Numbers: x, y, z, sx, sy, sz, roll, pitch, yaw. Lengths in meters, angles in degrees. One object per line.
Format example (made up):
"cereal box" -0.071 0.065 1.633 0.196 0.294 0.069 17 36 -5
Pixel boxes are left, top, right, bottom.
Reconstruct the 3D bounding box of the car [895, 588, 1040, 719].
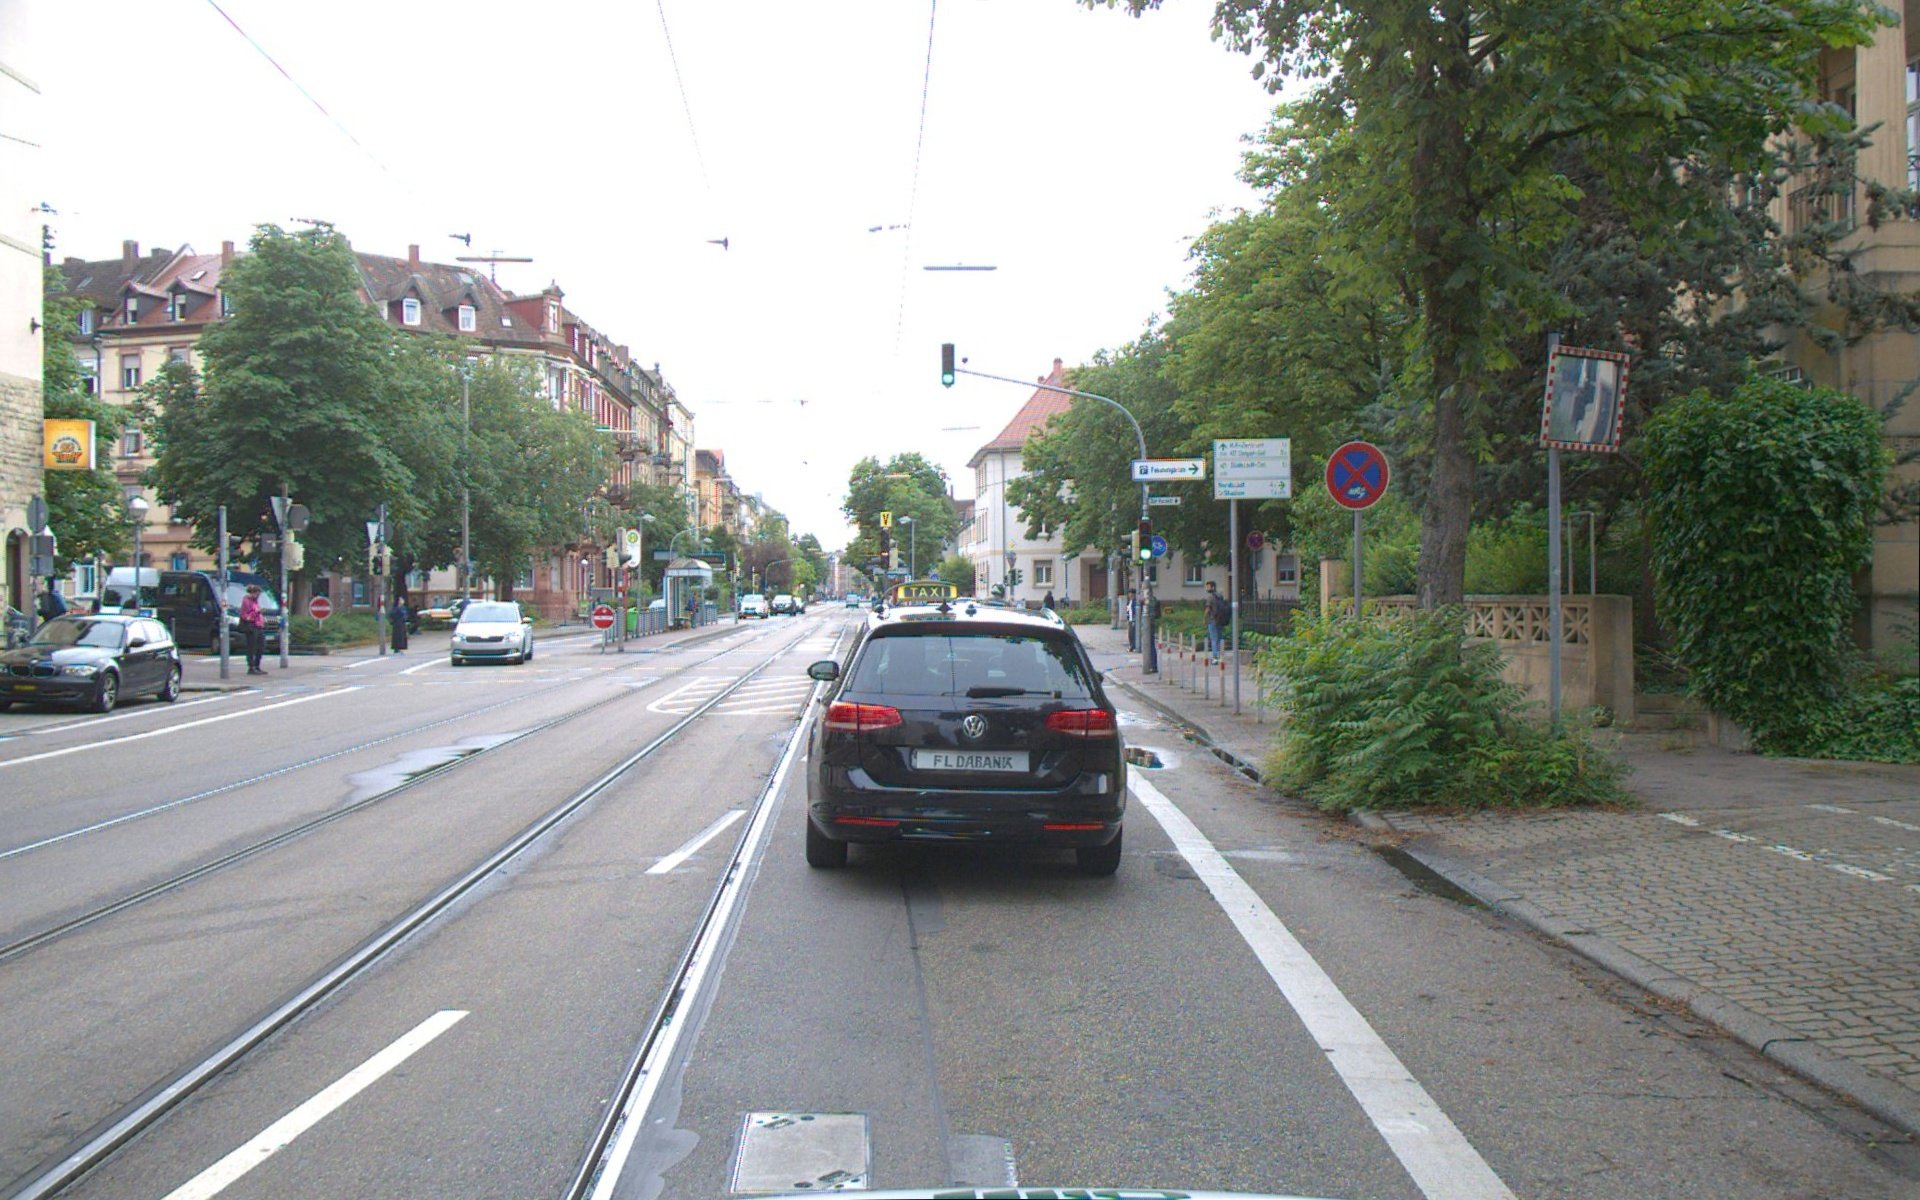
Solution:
"car" 0.018 0.639 21.901 1.689 1.573 3.997 0 0 -3

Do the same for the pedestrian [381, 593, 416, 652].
"pedestrian" -16.222 0.657 47.813 0.820 1.692 0.591 0 0 -2

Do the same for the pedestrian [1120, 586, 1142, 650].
"pedestrian" 5.081 0.541 49.153 0.504 1.862 0.418 -3 0 -2

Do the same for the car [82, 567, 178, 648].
"car" -27.973 0.244 55.669 2.161 2.571 5.314 0 0 -35

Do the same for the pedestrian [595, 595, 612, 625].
"pedestrian" -18.506 0.493 85.762 0.577 1.547 0.647 -1 0 32

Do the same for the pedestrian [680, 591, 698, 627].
"pedestrian" -11.748 0.383 71.756 0.700 1.547 0.589 0 0 -2

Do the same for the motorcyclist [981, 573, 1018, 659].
"motorcyclist" 0.810 0.322 33.787 0.688 1.722 0.805 -1 0 5

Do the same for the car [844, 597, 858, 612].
"car" -15.381 0.619 233.632 1.992 2.049 3.997 1 -1 -3

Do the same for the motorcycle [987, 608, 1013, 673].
"motorcycle" 0.821 0.810 33.795 0.437 1.257 1.908 -1 0 4

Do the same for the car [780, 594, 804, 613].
"car" -15.137 0.318 149.167 1.759 1.624 3.999 -1 0 -1

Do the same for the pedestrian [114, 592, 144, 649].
"pedestrian" -25.872 0.625 51.500 0.694 1.745 0.543 0 0 -43

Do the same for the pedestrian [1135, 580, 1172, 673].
"pedestrian" 3.965 0.531 33.979 0.573 1.862 0.604 -3 0 -2

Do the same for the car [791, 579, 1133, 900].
"car" -0.092 0.677 10.148 1.689 1.573 3.997 0 0 -3

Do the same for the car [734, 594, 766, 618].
"car" -14.534 0.383 114.759 1.759 1.624 3.999 0 0 -1

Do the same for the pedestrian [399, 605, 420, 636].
"pedestrian" -21.270 0.785 63.916 0.582 1.189 0.836 0 0 -32

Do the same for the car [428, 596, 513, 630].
"car" -24.966 0.656 84.480 3.832 1.651 1.699 -1 0 -43

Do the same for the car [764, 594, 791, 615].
"car" -14.543 0.364 131.954 1.759 1.624 3.999 -1 0 -1

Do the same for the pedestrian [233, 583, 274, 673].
"pedestrian" -14.844 0.583 34.765 0.611 1.875 0.609 0 0 -6

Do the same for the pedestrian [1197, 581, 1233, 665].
"pedestrian" 5.640 0.505 36.556 0.620 1.846 0.725 0 0 -6

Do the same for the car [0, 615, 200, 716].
"car" -13.645 0.974 26.167 1.617 1.385 4.125 2 0 -6

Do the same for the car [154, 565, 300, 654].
"car" -21.466 0.265 48.324 5.290 2.460 2.170 0 0 45

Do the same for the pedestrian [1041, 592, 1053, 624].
"pedestrian" 4.291 0.401 81.673 0.569 1.581 0.609 0 0 -1

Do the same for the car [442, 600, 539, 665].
"car" -11.225 0.741 39.740 1.657 1.435 3.993 -2 0 -8

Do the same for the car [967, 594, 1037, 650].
"car" 1.174 0.603 47.836 1.689 1.573 3.997 0 0 -3

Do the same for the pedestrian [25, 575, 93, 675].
"pedestrian" -18.838 0.520 34.594 0.954 2.049 0.835 -1 0 -4
